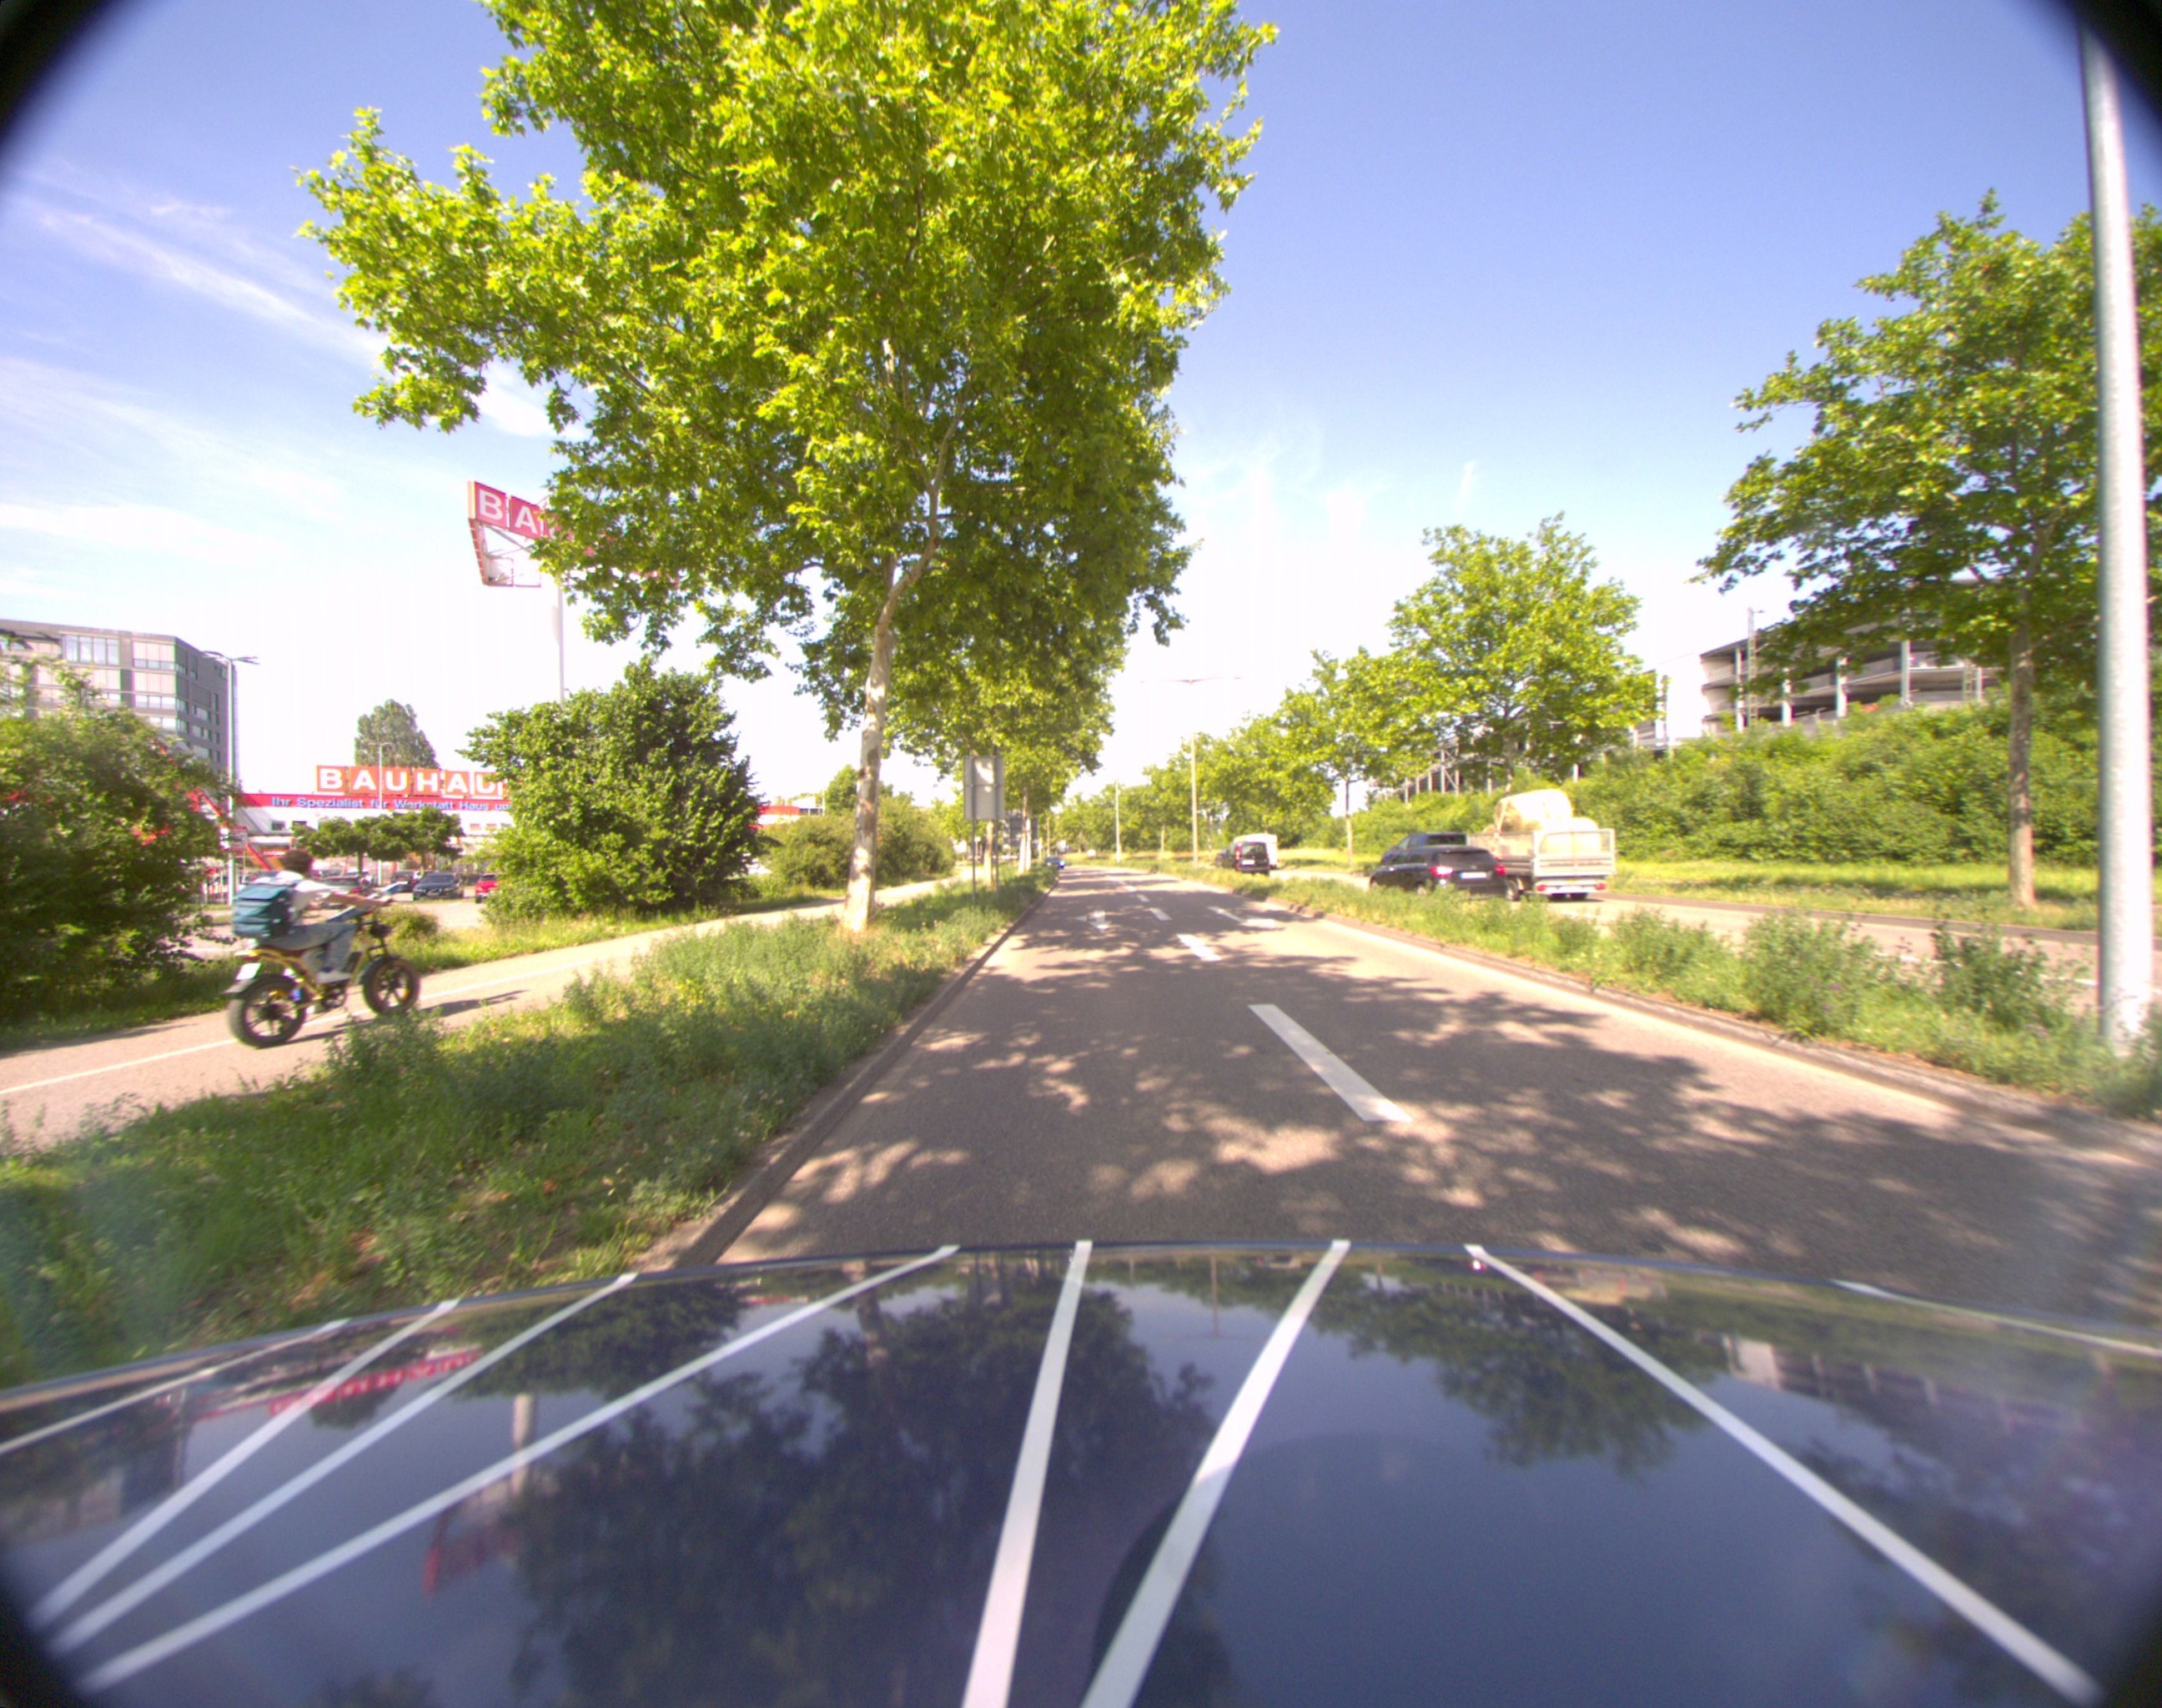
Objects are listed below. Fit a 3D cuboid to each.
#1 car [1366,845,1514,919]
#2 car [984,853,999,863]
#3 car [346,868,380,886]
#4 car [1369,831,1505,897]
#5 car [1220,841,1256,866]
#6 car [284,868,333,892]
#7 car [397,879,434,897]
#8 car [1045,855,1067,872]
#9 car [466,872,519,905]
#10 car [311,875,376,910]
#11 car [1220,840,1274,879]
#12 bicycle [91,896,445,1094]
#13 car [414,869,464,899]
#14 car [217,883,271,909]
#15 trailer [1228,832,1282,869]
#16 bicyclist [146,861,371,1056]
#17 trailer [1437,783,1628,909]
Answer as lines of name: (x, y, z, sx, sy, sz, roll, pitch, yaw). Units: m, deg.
car: (8.122, 0.558, 17.567, 1.607, 1.463, 3.789, -2, 1, 0)
car: (-14.427, 0.652, 122.001, 1.651, 1.592, 3.597, -2, 1, -19)
car: (-59.574, 1.890, 63.095, 1.572, 1.371, 3.609, -3, 1, -36)
car: (11.191, 0.244, 24.378, 1.769, 1.779, 5.374, -3, 1, 0)
car: (11.125, -0.067, 53.999, 1.719, 1.613, 4.360, -1, 1, 2)
car: (-49.330, 1.642, 48.565, 1.572, 1.371, 3.609, -3, 1, -36)
car: (-44.994, 2.301, 51.434, 1.521, 1.054, 3.179, -4, 1, -36)
car: (-2.583, 0.962, 78.261, 1.722, 1.575, 3.751, -2, 1, -10)
car: (-30.982, 1.749, 40.100, 2.003, 1.499, 3.989, -2, 1, -35)
car: (-35.345, 1.811, 36.510, 1.784, 1.477, 3.779, -3, 1, -38)
car: (8.347, 0.223, 38.577, 1.735, 1.799, 4.231, -3, 1, 0)
bicycle: (-6.849, 1.096, 6.628, 0.724, 1.291, 2.095, -2, 1, 2)
car: (-36.436, 1.648, 43.183, 1.632, 1.618, 4.746, 0, -1, -34)
car: (-50.974, 2.533, 46.342, 1.572, 1.371, 3.609, -3, 1, -38)
trailer: (11.172, -0.266, 49.210, 2.314, 2.252, 5.537, -1, 1, 2)
bicyclist: (-6.864, 0.820, 6.411, 0.706, 1.469, 1.009, -2, 1, 2)
trailer: (11.208, -0.217, 19.360, 1.885, 2.728, 4.827, -3, 1, 0)
